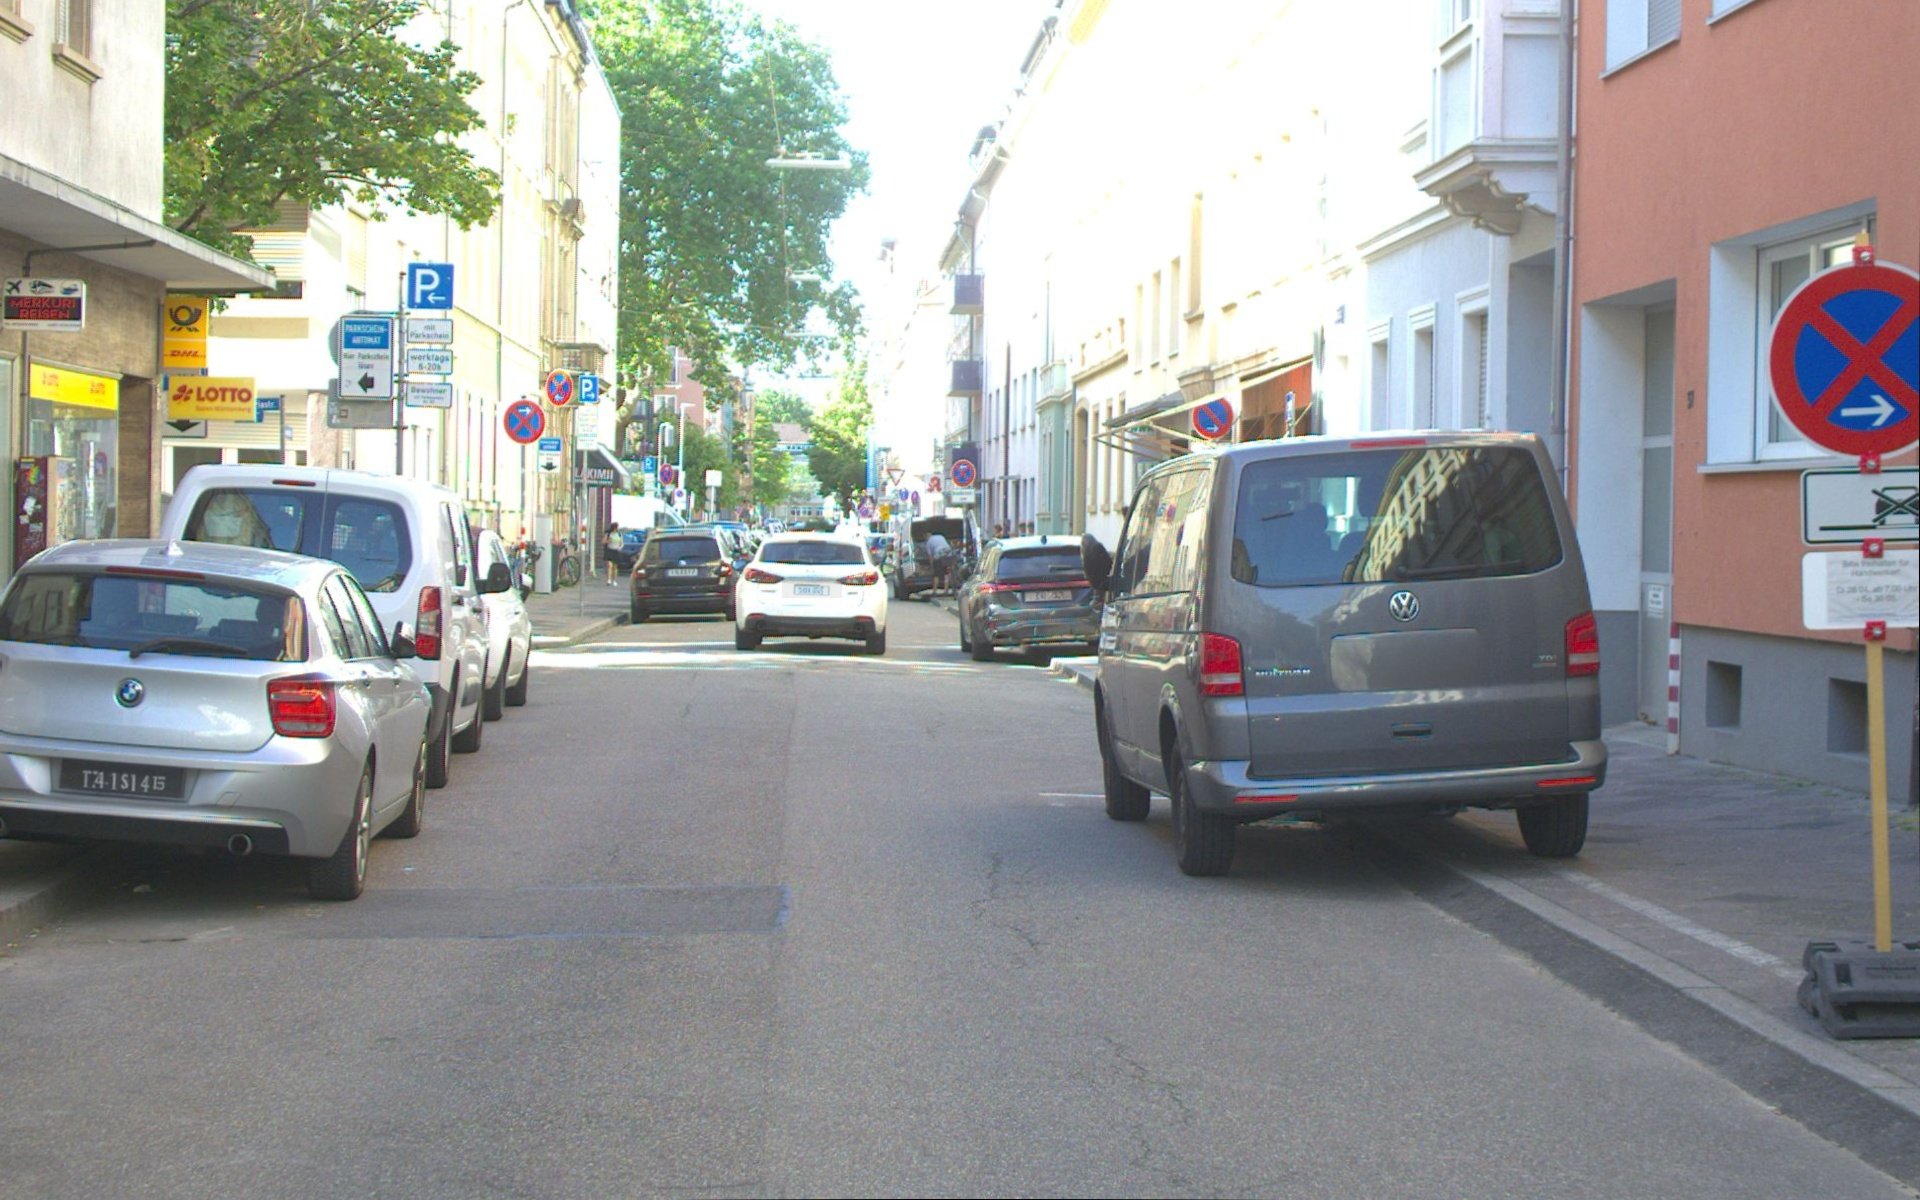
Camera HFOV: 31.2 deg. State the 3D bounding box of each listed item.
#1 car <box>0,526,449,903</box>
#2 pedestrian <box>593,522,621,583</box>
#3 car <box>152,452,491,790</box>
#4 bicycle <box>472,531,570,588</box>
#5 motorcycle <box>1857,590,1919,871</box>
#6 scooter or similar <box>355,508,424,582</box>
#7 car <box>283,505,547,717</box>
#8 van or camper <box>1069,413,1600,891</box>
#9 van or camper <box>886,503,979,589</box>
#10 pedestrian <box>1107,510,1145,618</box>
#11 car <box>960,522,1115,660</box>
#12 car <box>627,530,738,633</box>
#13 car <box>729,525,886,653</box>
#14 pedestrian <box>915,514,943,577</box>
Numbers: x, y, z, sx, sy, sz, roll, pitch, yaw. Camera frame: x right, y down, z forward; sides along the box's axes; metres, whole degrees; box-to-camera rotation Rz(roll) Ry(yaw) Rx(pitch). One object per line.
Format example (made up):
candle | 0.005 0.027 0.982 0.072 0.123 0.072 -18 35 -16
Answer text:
car | -3.339 0.403 15.277 1.758 1.411 4.001 -1 1 -4
pedestrian | -8.452 -1.135 82.387 0.627 1.459 0.575 0 0 -2
car | -3.822 0.072 21.115 1.647 1.861 4.001 1 1 -5
bicycle | -8.914 -0.819 69.828 1.949 1.111 0.512 1 1 -37
motorcycle | 4.418 0.578 14.213 0.596 1.182 2.760 -4 1 -1
scooter or similar | -12.185 -1.169 73.433 0.511 1.552 1.604 2 1 30
car | -4.331 0.044 27.764 1.647 1.571 3.679 1 1 -2
van or camper | 1.688 0.177 17.038 1.775 2.029 4.571 -1 1 -4
van or camper | -0.656 -1.218 79.062 1.993 1.919 4.000 0 0 -2
pedestrian | 2.665 -0.582 55.157 0.528 1.721 0.489 0 0 13
car | 0.896 -0.143 41.581 1.647 1.571 3.679 1 1 -2
car | -4.534 -0.330 56.485 1.624 1.591 3.581 2 1 -2
car | -1.844 -0.178 42.430 1.834 1.481 4.057 1 1 -1
pedestrian | -0.728 -1.273 80.551 0.627 1.459 0.575 0 0 -2
